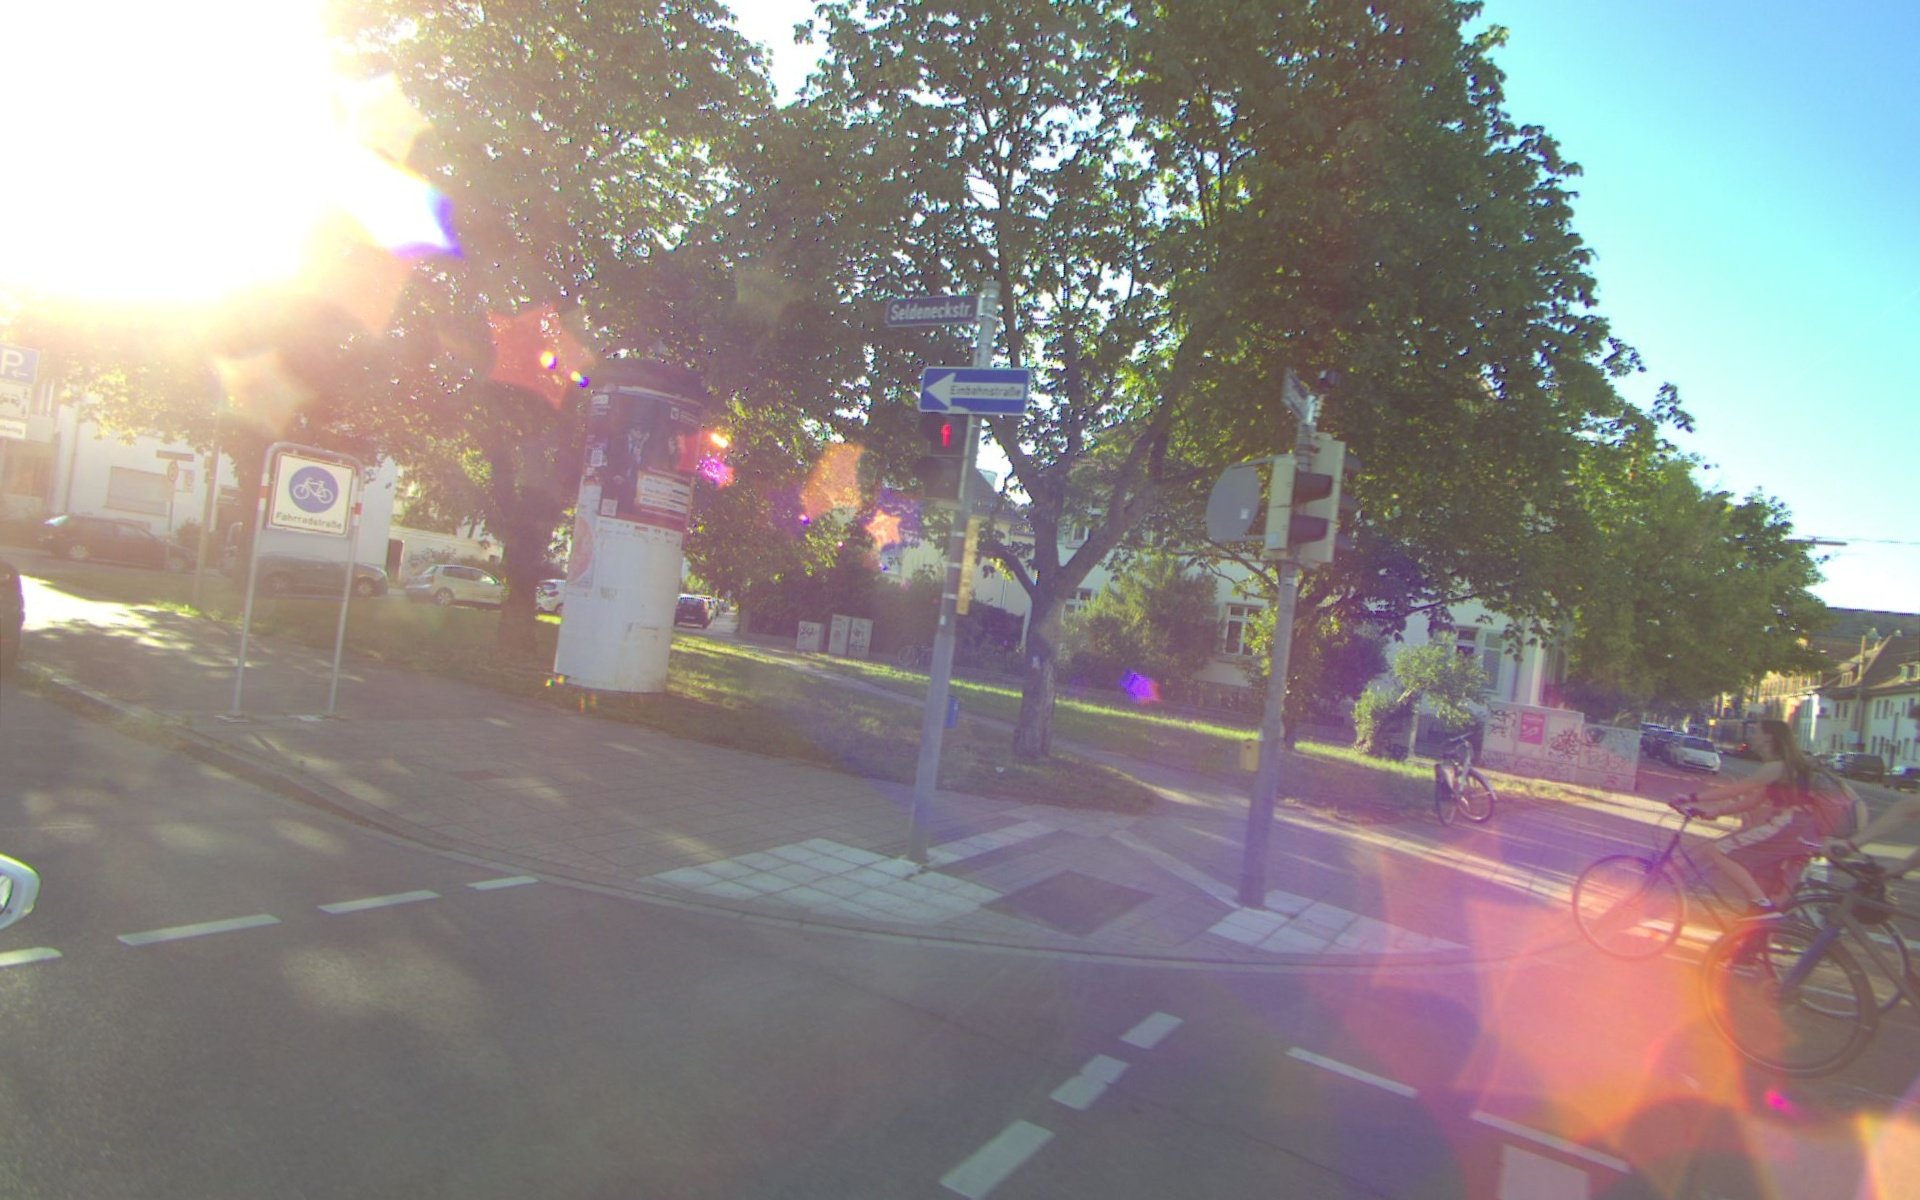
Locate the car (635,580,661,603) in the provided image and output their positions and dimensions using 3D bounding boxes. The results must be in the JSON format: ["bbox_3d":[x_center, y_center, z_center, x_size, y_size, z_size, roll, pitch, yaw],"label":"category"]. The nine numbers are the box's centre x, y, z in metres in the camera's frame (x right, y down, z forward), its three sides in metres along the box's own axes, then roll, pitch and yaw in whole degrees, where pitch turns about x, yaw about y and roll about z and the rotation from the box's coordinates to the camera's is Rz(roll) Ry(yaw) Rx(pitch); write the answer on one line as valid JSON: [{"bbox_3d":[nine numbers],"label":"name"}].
[{"bbox_3d":[-27.096,-0.699,87.400,1.733,1.640,3.835,9,-3,-15],"label":"car"}]

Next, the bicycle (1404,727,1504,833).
[{"bbox_3d":[5.828,2.095,11.828,0.461,1.103,1.519,11,2,44],"label":"bicycle"}]

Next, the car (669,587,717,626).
[{"bbox_3d":[-13.204,0.300,49.896,1.969,1.571,3.989,8,0,-13],"label":"car"}]

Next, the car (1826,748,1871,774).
[{"bbox_3d":[68.189,12.343,77.270,1.968,1.459,3.991,7,-1,34],"label":"car"}]

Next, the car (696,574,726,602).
[{"bbox_3d":[-20.109,-0.951,81.025,1.903,1.875,3.989,9,-3,-17],"label":"car"}]

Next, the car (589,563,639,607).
[{"bbox_3d":[-22.496,-0.919,65.531,2.079,2.362,4.515,9,-3,-10],"label":"car"}]

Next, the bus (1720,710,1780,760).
[{"bbox_3d":[71.681,12.398,91.528,2.820,3.867,13.309,7,-4,34],"label":"bus"}]

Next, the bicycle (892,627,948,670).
[{"bbox_3d":[-1.417,1.714,35.396,1.923,1.253,0.449,7,0,34],"label":"bicycle"}]

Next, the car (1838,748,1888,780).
[{"bbox_3d":[65.121,11.823,72.625,1.968,1.793,3.991,7,-1,34],"label":"car"}]

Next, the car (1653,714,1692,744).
[{"bbox_3d":[56.455,10.235,79.790,1.967,2.035,3.998,7,-3,31],"label":"car"}]

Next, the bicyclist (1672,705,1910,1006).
[{"bbox_3d":[5.130,1.522,6.222,0.710,1.579,0.884,10,-3,-39],"label":"bicyclist"}]

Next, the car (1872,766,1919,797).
[{"bbox_3d":[56.496,10.897,60.296,1.968,1.479,3.996,7,-4,34],"label":"car"}]

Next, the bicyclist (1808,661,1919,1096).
[{"bbox_3d":[4.379,1.220,4.348,0.813,1.751,0.882,10,-3,-45],"label":"bicyclist"}]

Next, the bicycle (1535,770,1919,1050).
[{"bbox_3d":[4.877,1.862,6.428,0.489,1.197,1.943,10,-3,-38],"label":"bicycle"}]

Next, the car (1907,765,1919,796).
[{"bbox_3d":[53.447,10.001,54.742,1.968,1.646,3.993,6,-3,34],"label":"car"}]

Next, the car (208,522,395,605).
[{"bbox_3d":[-20.032,-1.076,30.766,1.999,1.897,4.244,7,-1,35],"label":"car"}]

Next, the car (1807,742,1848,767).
[{"bbox_3d":[74.113,13.247,86.007,1.968,1.746,3.995,7,-4,34],"label":"car"}]

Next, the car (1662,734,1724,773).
[{"bbox_3d":[33.367,6.949,45.881,1.968,1.325,3.991,7,-1,34],"label":"car"}]

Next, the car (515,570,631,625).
[{"bbox_3d":[-14.733,-0.058,38.510,1.498,1.541,3.931,6,-3,31],"label":"car"}]

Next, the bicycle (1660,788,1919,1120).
[{"bbox_3d":[4.288,1.607,4.355,0.571,1.197,1.882,10,-3,-43],"label":"bicycle"}]

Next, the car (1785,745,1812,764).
[{"bbox_3d":[78.371,14.466,94.048,1.458,1.464,3.436,7,-4,34],"label":"car"}]

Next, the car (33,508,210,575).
[{"bbox_3d":[-26.843,-1.835,32.324,1.689,1.463,3.991,7,-2,35],"label":"car"}]

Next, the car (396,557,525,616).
[{"bbox_3d":[-16.974,-0.430,34.332,1.578,1.533,3.560,7,-1,30],"label":"car"}]

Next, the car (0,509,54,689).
[{"bbox_3d":[-10.380,-0.292,9.393,4.469,1.527,1.729,7,-3,35],"label":"car"}]
